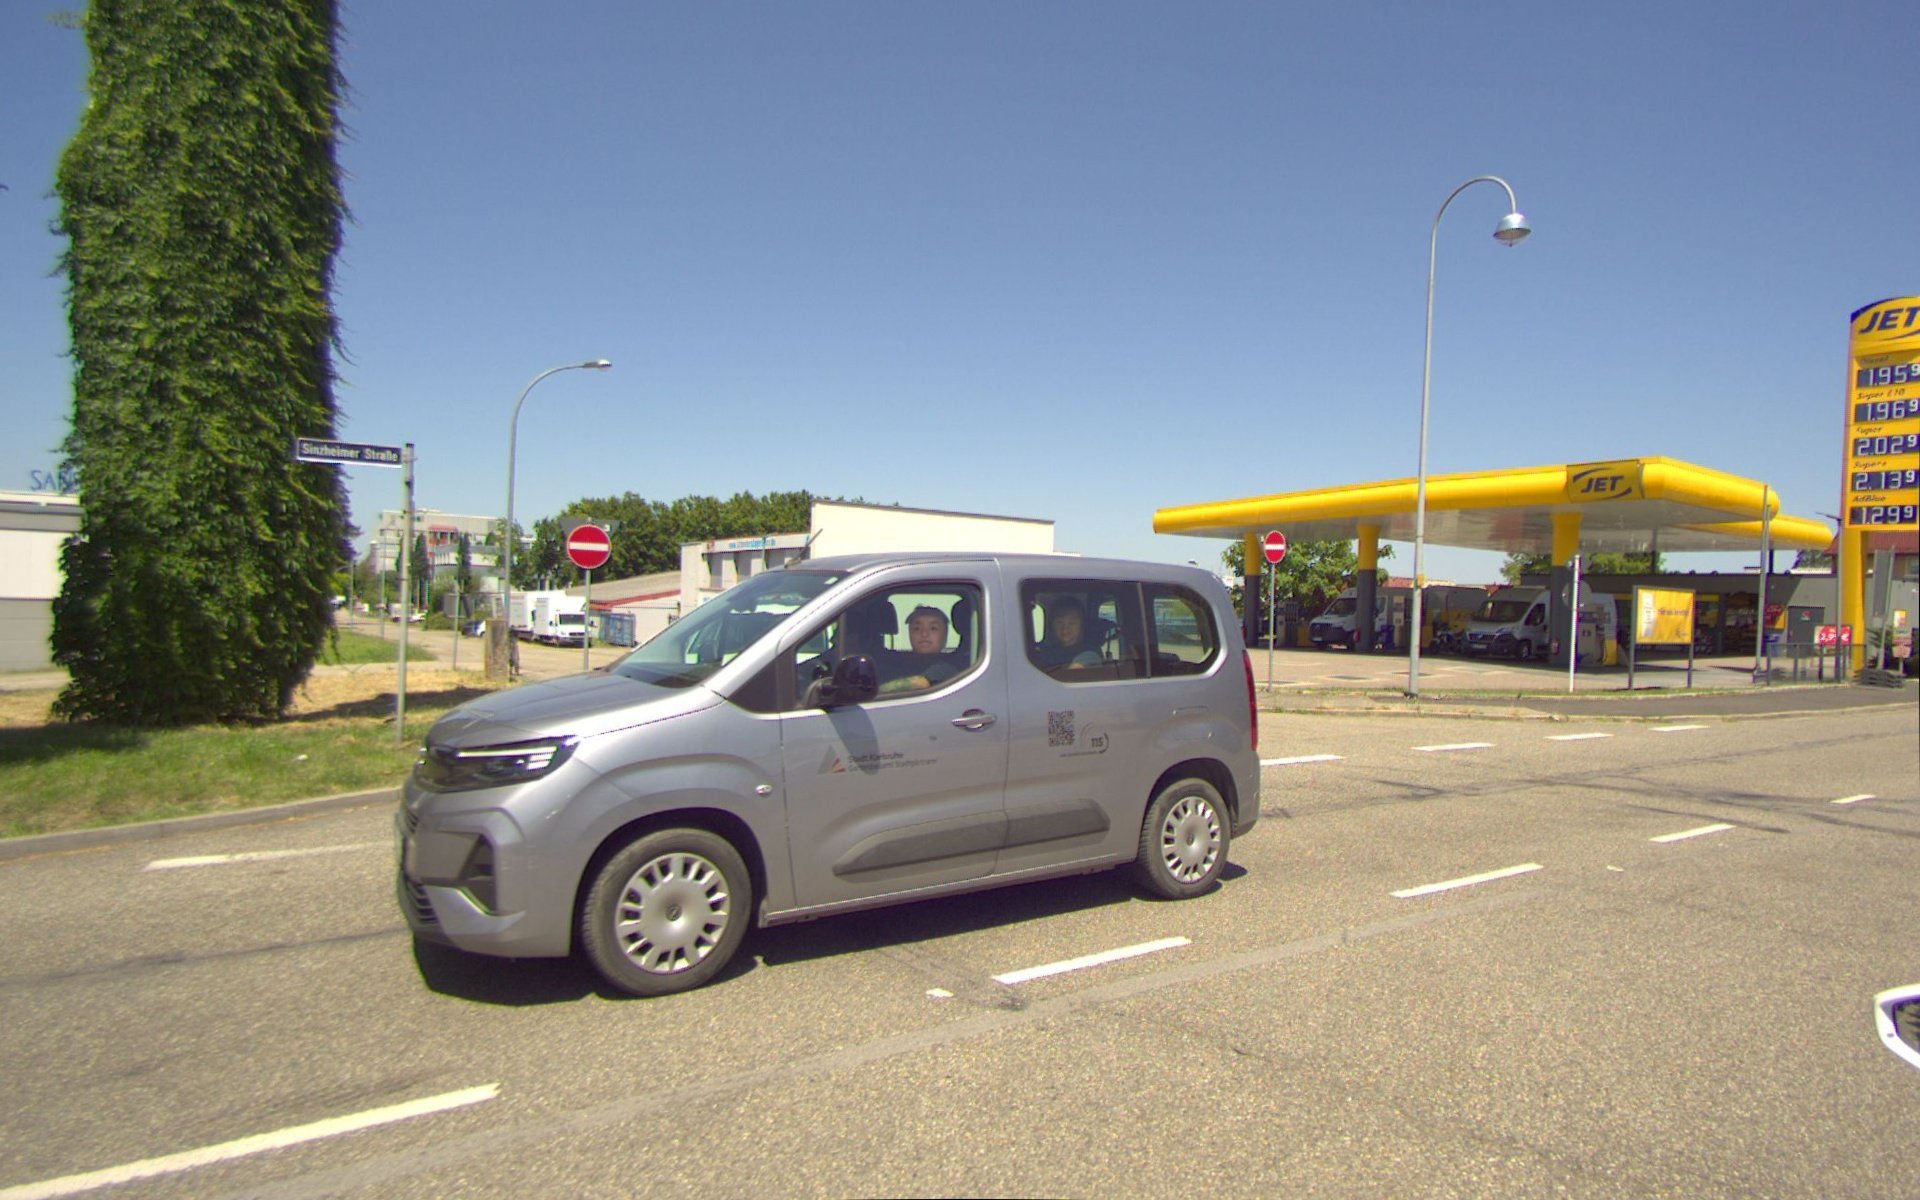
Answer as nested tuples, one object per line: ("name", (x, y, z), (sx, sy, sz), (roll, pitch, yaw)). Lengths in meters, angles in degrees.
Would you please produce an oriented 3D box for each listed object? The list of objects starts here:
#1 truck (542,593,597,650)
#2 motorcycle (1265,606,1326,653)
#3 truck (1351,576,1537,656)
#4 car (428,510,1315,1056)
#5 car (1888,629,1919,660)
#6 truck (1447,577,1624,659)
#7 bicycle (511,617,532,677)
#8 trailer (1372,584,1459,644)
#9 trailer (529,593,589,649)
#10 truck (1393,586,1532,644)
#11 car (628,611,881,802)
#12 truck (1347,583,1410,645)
("truck", (-24.502, 1.324, 62.894), (2.283, 3.468, 4.679), (2, -1, -33))
("motorcycle", (15.209, 1.342, 45.452), (2.754, 2.040, 0.834), (2, -1, -24))
("truck", (19.478, 0.676, 40.485), (6.620, 2.951, 2.640), (2, -1, -15))
("car", (-0.261, 0.650, 5.264), (4.318, 1.796, 1.785), (1, -1, -34))
("car", (56.053, 2.594, 57.824), (1.876, 1.732, 3.635), (2, -1, -38))
("truck", (20.110, 0.673, 35.003), (6.649, 2.633, 2.224), (2, -1, -29))
("bicycle", (-10.430, 1.095, 23.881), (0.389, 1.366, 1.532), (1, -1, -25))
("trailer", (25.900, 0.809, 57.009), (5.856, 3.262, 1.852), (1, 0, -36))
("trailer", (-26.403, 1.341, 65.956), (2.283, 3.454, 7.255), (2, -1, -33))
("truck", (31.858, 0.937, 64.041), (2.135, 3.471, 7.815), (2, -1, -36))
("car", (-1.992, 0.976, 11.045), (1.936, 1.695, 4.248), (0, -1, -1))
("truck", (22.820, 0.759, 54.750), (3.158, 3.286, 1.833), (0, 0, -36))
